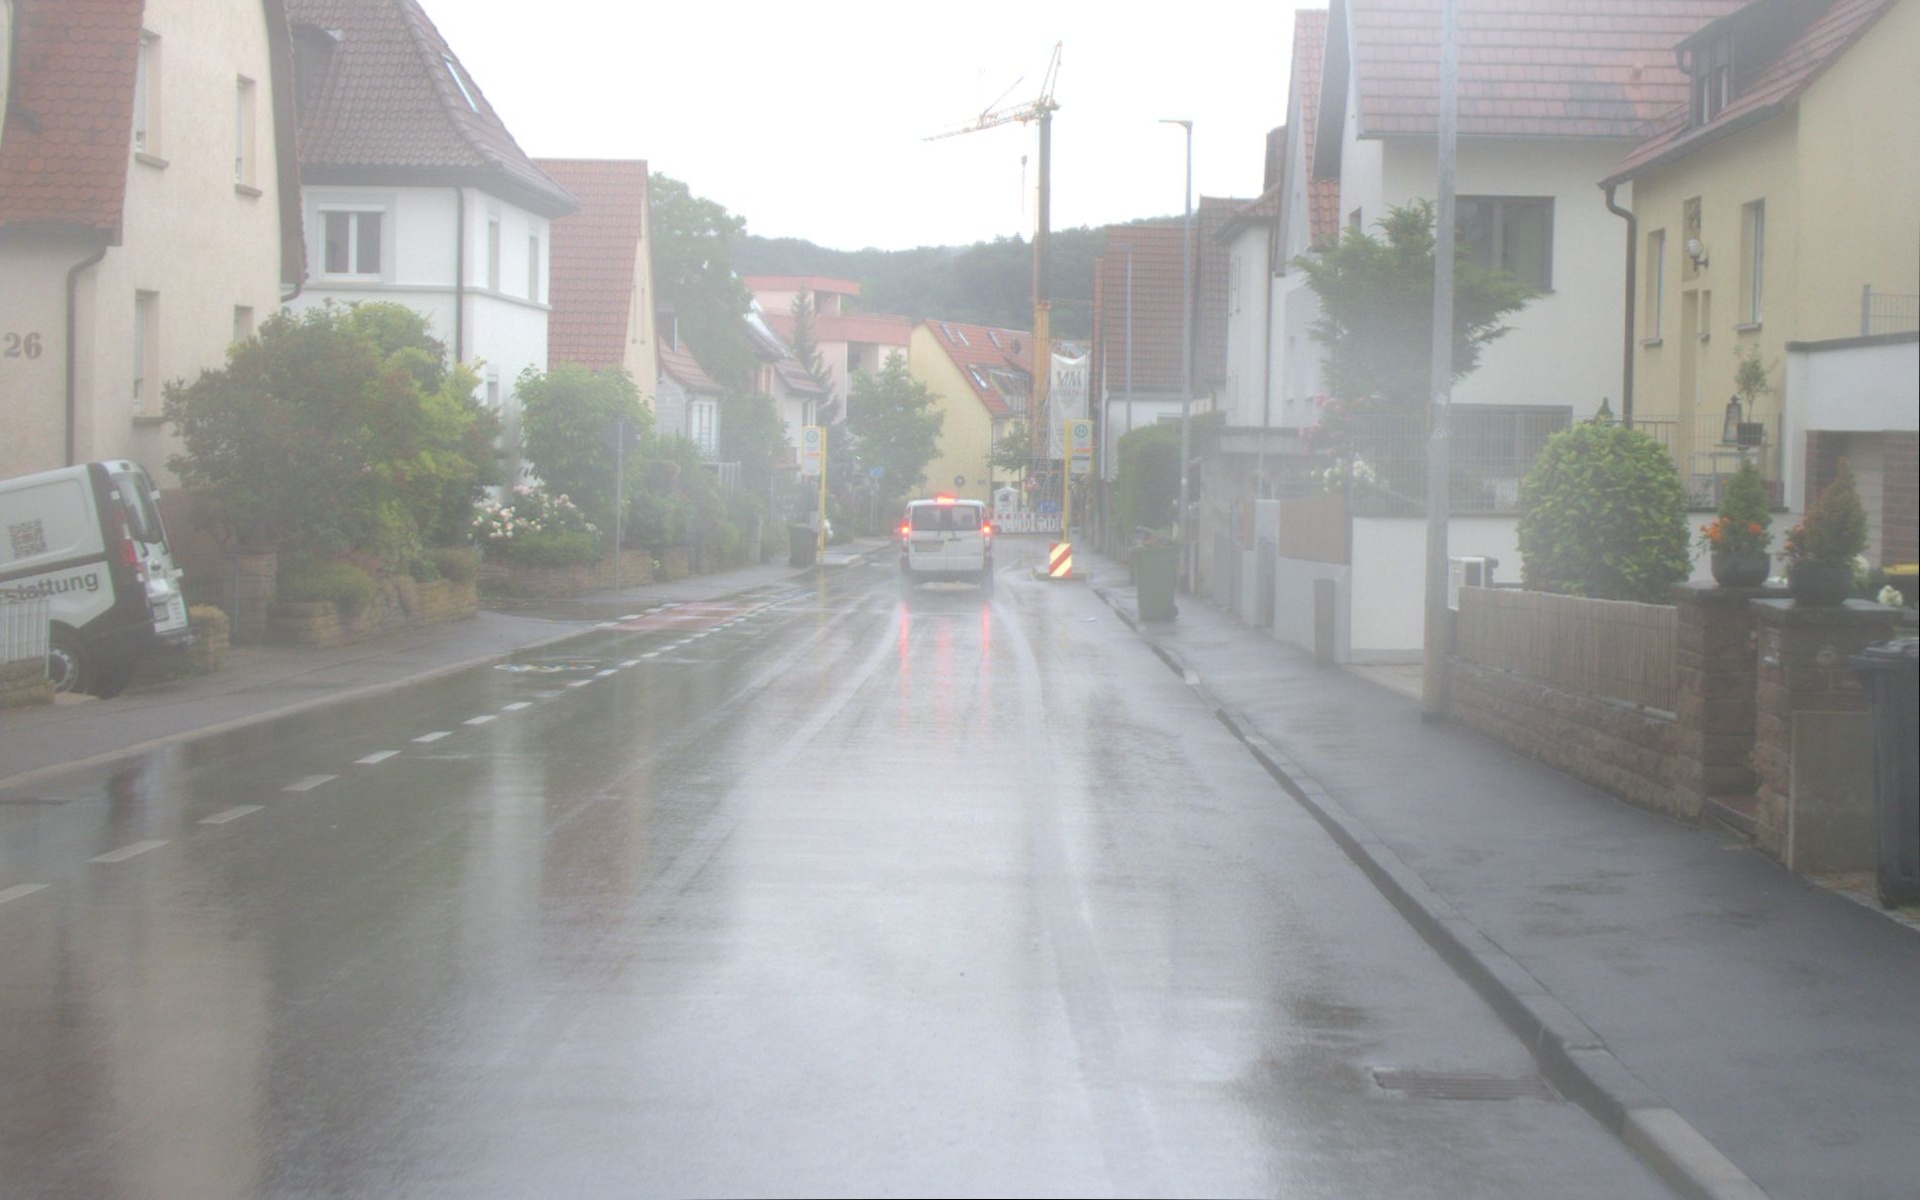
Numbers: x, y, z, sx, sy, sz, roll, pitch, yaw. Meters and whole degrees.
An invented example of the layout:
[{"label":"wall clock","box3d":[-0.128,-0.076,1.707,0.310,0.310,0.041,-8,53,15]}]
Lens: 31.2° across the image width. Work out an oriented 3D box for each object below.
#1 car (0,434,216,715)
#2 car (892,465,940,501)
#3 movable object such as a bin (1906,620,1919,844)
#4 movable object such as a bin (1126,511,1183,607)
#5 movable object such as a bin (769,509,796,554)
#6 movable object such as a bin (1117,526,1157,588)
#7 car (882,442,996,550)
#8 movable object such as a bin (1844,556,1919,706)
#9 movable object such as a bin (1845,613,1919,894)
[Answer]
[{"label":"car","box3d":[-8.928,0.042,28.947,4.554,2.006,2.160,-11,4,1]},{"label":"car","box3d":[-2.191,-5.884,172.217,1.842,1.573,4.289,3,4,5]},{"label":"movable object such as a bin","box3d":[3.872,0.432,12.846,0.424,1.024,0.632,2,4,-1]},{"label":"movable object such as a bin","box3d":[2.708,-0.583,47.889,0.745,1.274,0.882,1,4,1]},{"label":"movable object such as a bin","box3d":[-5.030,-1.955,97.453,0.682,1.218,0.639,2,4,-4]},{"label":"movable object such as a bin","box3d":[3.867,-0.948,75.118,0.785,1.272,0.714,3,4,5]},{"label":"car","box3d":[-0.384,-2.144,69.796,2.117,1.881,4.503,3,4,1]},{"label":"movable object such as a bin","box3d":[7.139,0.233,26.071,0.650,1.069,0.628,2,4,0]},{"label":"movable object such as a bin","box3d":[3.452,0.541,12.207,0.424,0.937,0.508,2,4,-1]}]
